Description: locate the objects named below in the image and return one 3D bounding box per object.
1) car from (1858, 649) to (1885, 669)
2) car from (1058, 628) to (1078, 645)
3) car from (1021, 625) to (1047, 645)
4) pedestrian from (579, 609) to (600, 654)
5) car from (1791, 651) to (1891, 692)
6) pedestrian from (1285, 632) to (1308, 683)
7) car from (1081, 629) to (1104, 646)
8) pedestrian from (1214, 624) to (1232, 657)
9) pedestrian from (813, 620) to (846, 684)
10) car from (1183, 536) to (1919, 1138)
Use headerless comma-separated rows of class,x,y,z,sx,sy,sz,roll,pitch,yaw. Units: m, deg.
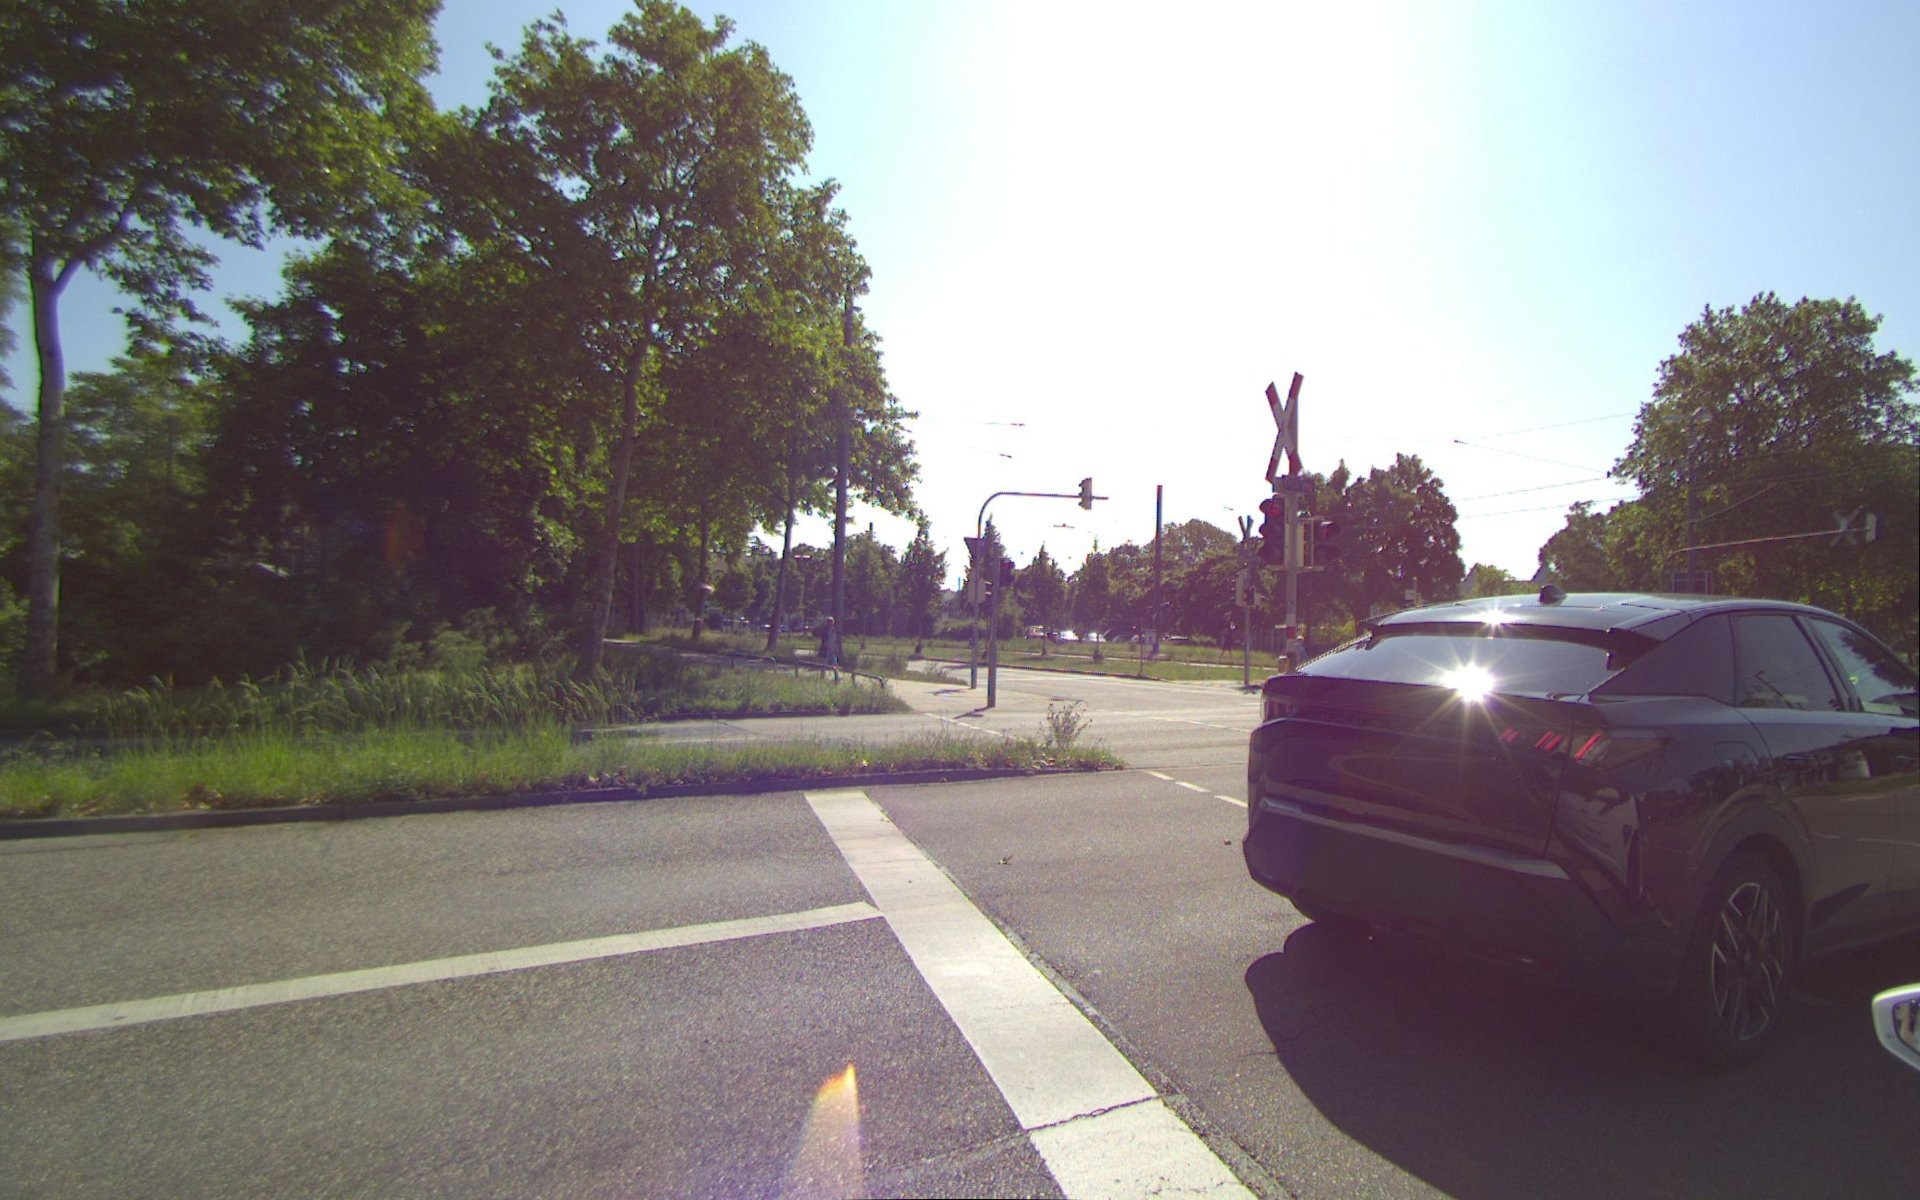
car,120.255,7.793,132.576,2.035,2.647,7.189,-1,-3,38
car,9.794,3.339,91.229,1.323,1.465,3.340,2,-2,-3
car,6.729,3.217,91.723,1.780,1.725,3.986,2,-2,-3
pedestrian,-17.790,1.497,48.212,0.748,2.118,0.612,2,-2,-37
car,35.506,2.858,40.440,4.607,1.528,1.686,2,-2,-30
pedestrian,10.573,1.806,31.552,0.655,1.581,0.366,1,-1,17
car,12.015,3.381,91.385,1.420,1.465,3.340,2,-2,-3
pedestrian,16.171,2.496,61.713,0.706,2.040,0.787,2,-2,-39
pedestrian,-3.249,1.283,24.999,0.563,1.554,0.601,2,-2,-35
car,3.370,0.744,4.784,4.383,1.719,1.863,2,-1,-30
